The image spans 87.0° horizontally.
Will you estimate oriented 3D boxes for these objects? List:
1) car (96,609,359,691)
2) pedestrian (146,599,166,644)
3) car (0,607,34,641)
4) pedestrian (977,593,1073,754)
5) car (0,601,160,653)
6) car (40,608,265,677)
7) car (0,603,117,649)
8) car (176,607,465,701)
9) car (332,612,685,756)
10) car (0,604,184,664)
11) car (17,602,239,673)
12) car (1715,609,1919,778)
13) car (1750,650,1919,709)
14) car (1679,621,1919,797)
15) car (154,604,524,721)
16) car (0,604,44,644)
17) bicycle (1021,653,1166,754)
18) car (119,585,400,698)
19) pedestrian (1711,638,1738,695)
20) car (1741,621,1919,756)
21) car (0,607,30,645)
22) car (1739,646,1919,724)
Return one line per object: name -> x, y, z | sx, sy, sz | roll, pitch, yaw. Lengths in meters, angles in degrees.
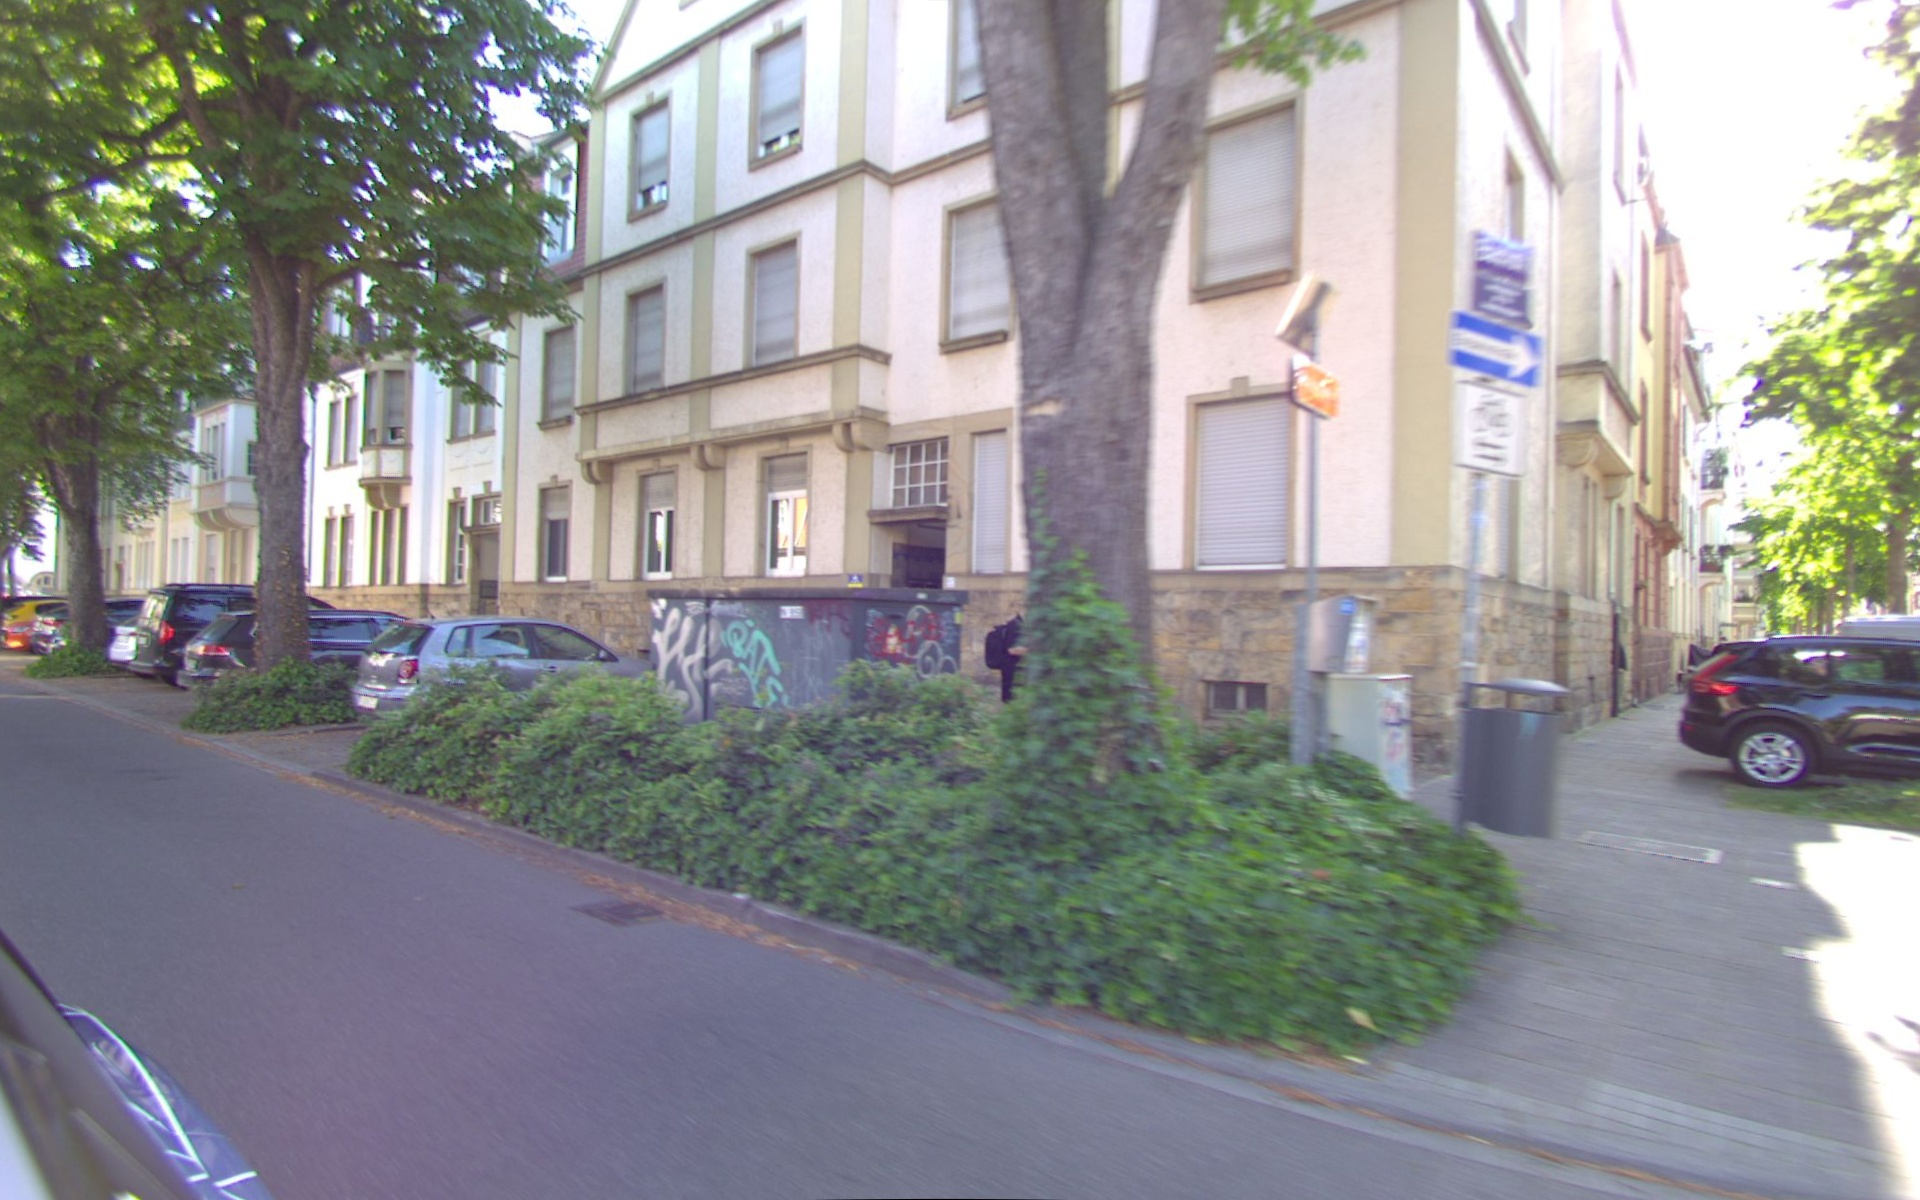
car -> -14.696, 0.961, 20.504 | 1.738, 1.459, 3.952 | 0, -1, 35
pedestrian -> -30.110, 0.806, 37.892 | 0.454, 1.671, 0.895 | 3, -2, -43
car -> -40.904, 0.956, 41.473 | 1.701, 1.359, 4.170 | 1, -1, 39
pedestrian -> 0.709, 0.774, 11.052 | 0.831, 1.672, 0.626 | 0, -2, 39
car -> -27.213, 0.808, 31.162 | 1.862, 1.473, 3.751 | 0, -1, 40
car -> -18.627, 0.936, 23.438 | 1.860, 1.457, 3.859 | 0, -1, 44
car -> -32.692, 0.918, 35.943 | 1.721, 1.519, 3.946 | 0, -3, 40
car -> -11.218, 0.896, 17.980 | 1.826, 1.448, 3.943 | 0, -1, 37
car -> -5.448, 0.935, 12.572 | 1.639, 1.499, 3.638 | 0, -1, 39
car -> -24.279, 0.918, 28.147 | 1.745, 1.526, 3.948 | 1, -1, 39
car -> -20.519, 0.875, 25.088 | 1.857, 1.604, 3.948 | 0, -1, 38
car -> 11.647, 1.094, 12.178 | 3.997, 1.913, 1.973 | 0, -2, 41
car -> 24.350, 2.147, 27.869 | 3.998, 1.431, 1.780 | 0, -2, 41
car -> 9.951, 1.078, 10.223 | 4.247, 1.652, 1.973 | 0, -2, 41
car -> -9.376, 0.881, 15.643 | 1.889, 1.514, 4.489 | 0, -1, 38
car -> -37.453, 0.906, 38.291 | 1.784, 1.493, 3.946 | 0, -1, 40
bicycle -> 1.640, 1.249, 12.570 | 1.697, 1.106, 0.622 | 0, -2, 39
car -> -12.970, 0.738, 18.937 | 1.826, 1.869, 3.941 | 0, -1, 38
pedestrian -> 21.797, 1.891, 28.850 | 0.576, 1.575, 0.476 | 0, -2, 41
car -> 13.244, 1.202, 13.928 | 3.888, 1.747, 1.778 | 0, -2, 41
car -> -39.280, 1.004, 40.110 | 1.702, 1.463, 3.397 | 1, -1, 41
car -> 18.060, 1.667, 20.131 | 3.998, 1.397, 1.753 | 0, -2, 41
